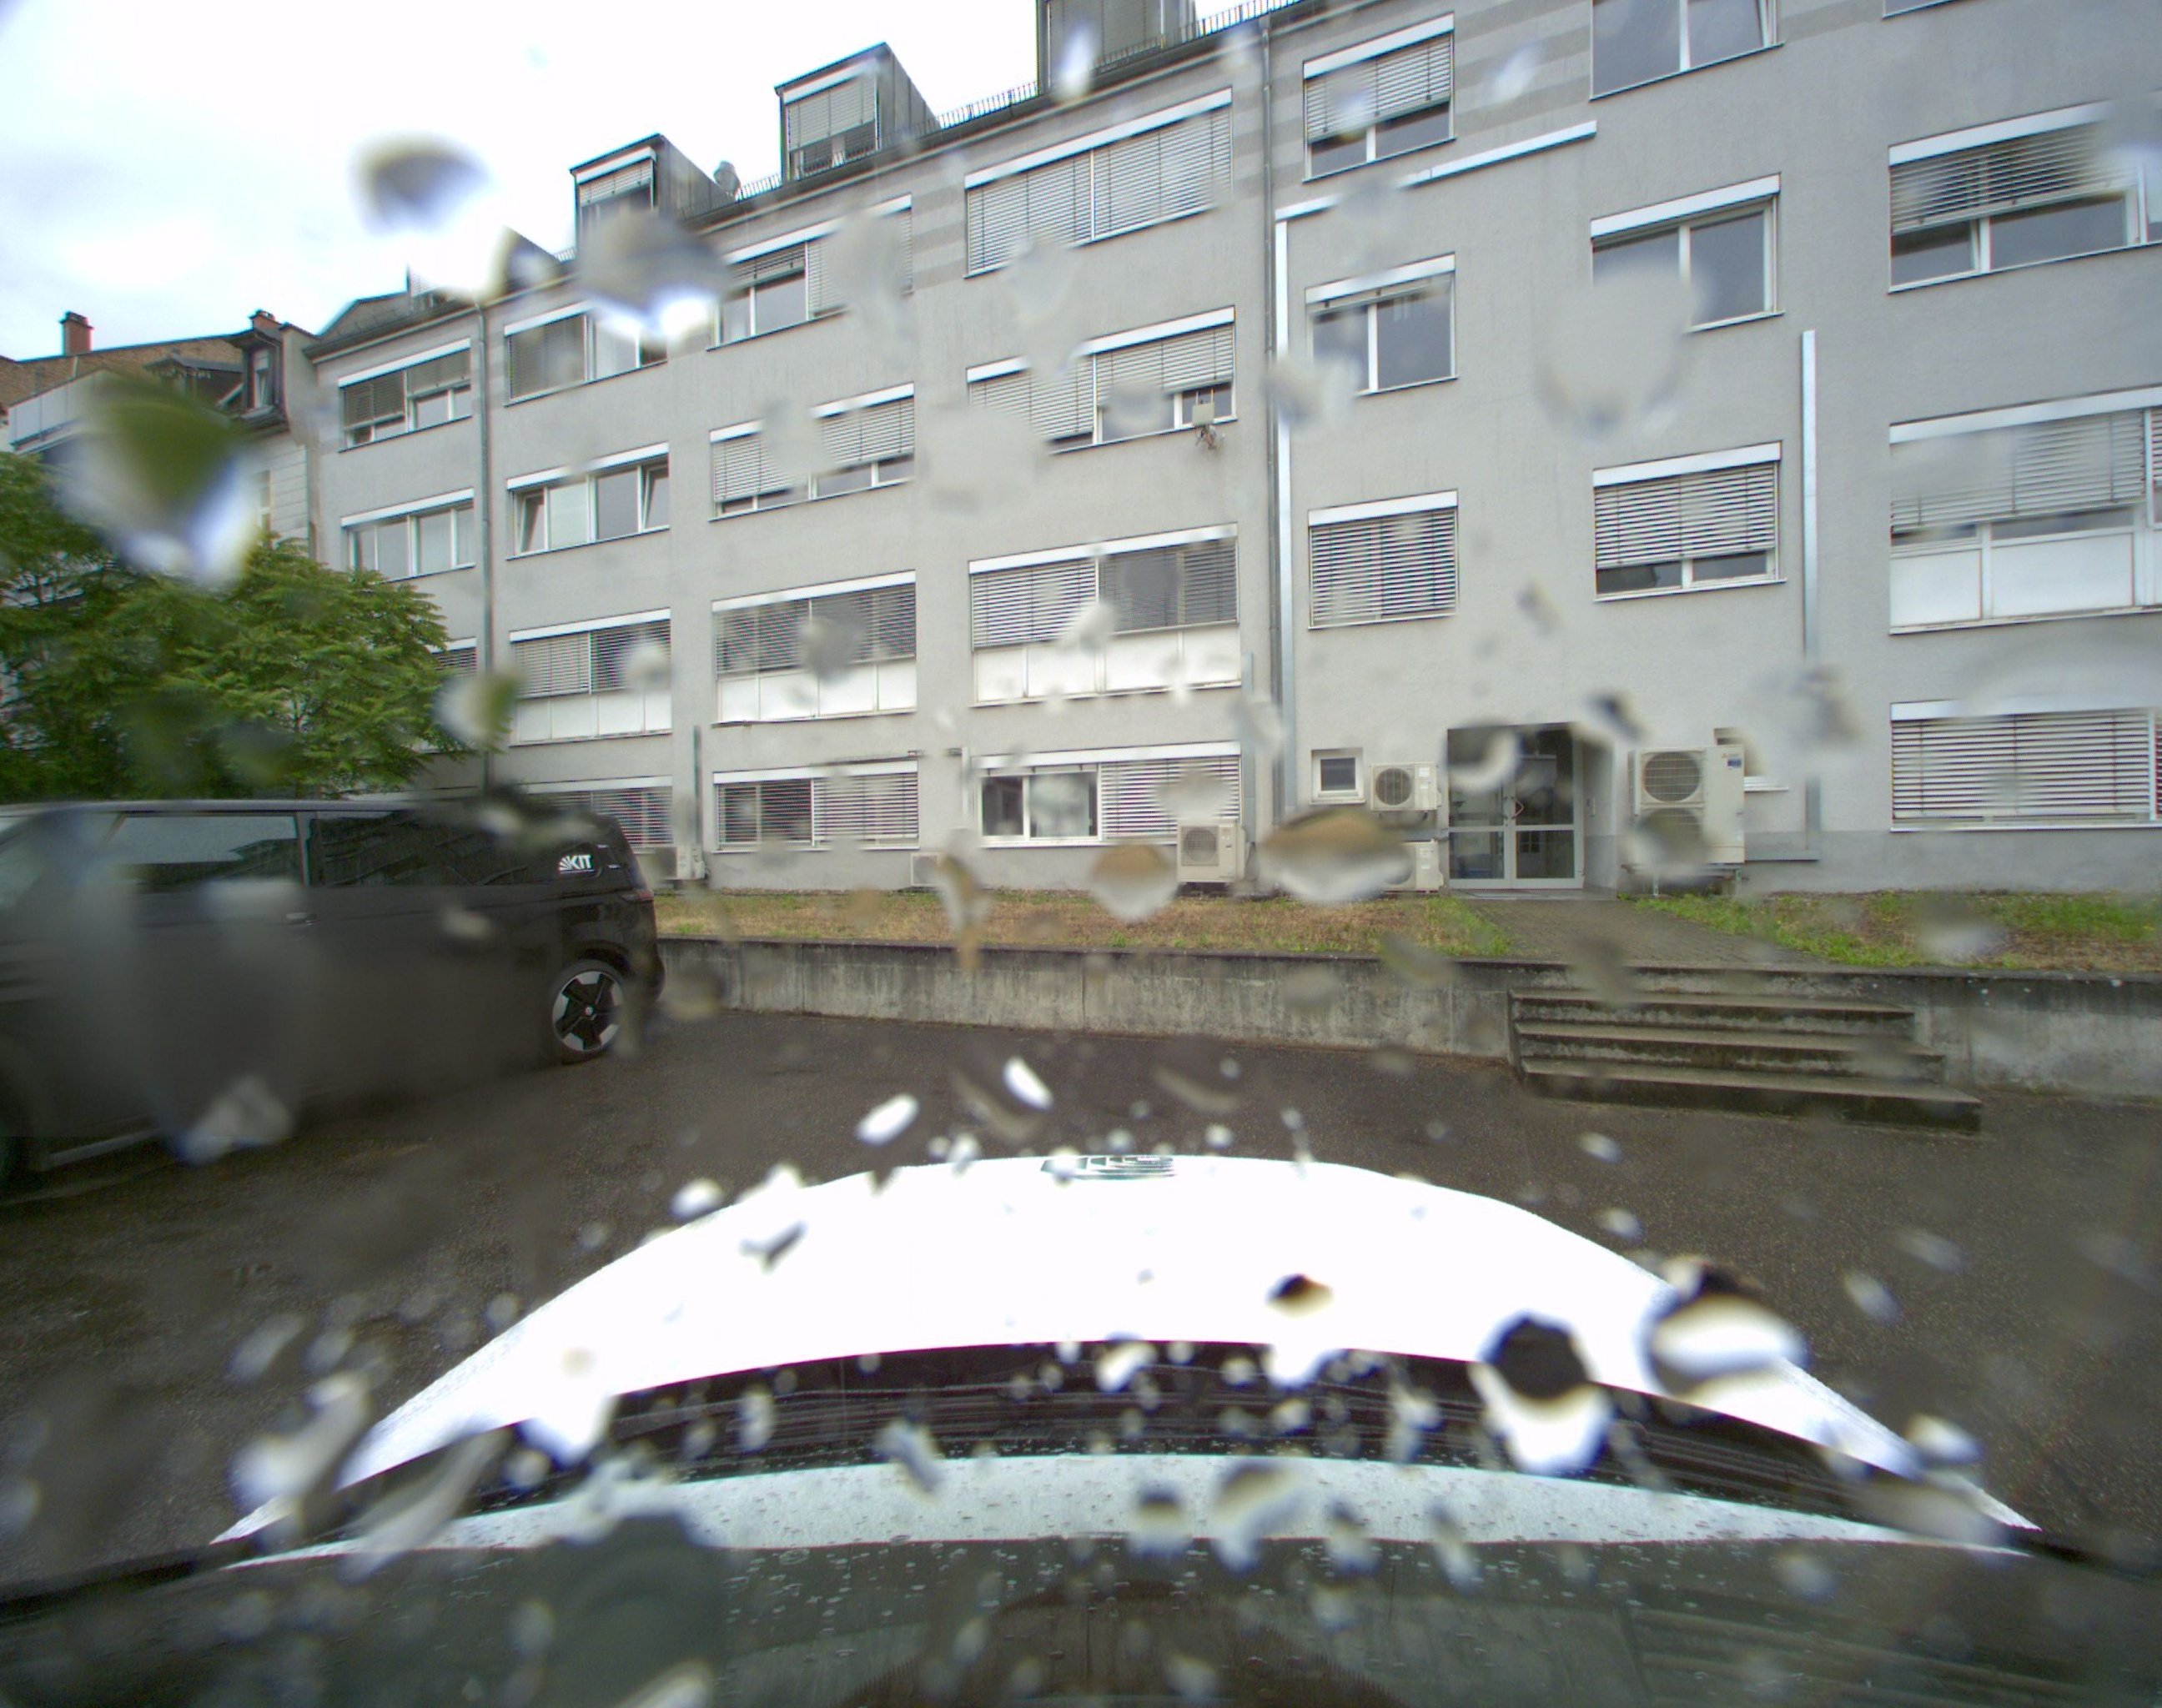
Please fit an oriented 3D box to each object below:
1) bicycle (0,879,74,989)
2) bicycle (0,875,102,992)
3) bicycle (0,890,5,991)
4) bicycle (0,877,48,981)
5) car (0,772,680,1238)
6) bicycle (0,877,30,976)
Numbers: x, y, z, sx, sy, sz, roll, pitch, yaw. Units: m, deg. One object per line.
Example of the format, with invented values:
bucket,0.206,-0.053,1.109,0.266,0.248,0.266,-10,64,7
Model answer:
bicycle,-13.255,0.968,8.585,0.623,1.241,3.243,-2,0,24
bicycle,-12.476,0.911,8.225,0.623,1.241,3.243,-2,0,24
bicycle,-12.645,0.973,8.038,0.625,1.104,2.349,0,1,25
bicycle,-13.873,0.952,8.825,0.623,1.241,3.243,-2,0,24
car,-4.982,0.620,4.790,2.023,1.897,4.544,-2,0,19
bicycle,-14.455,0.953,9.100,0.623,1.241,3.243,-2,0,24
